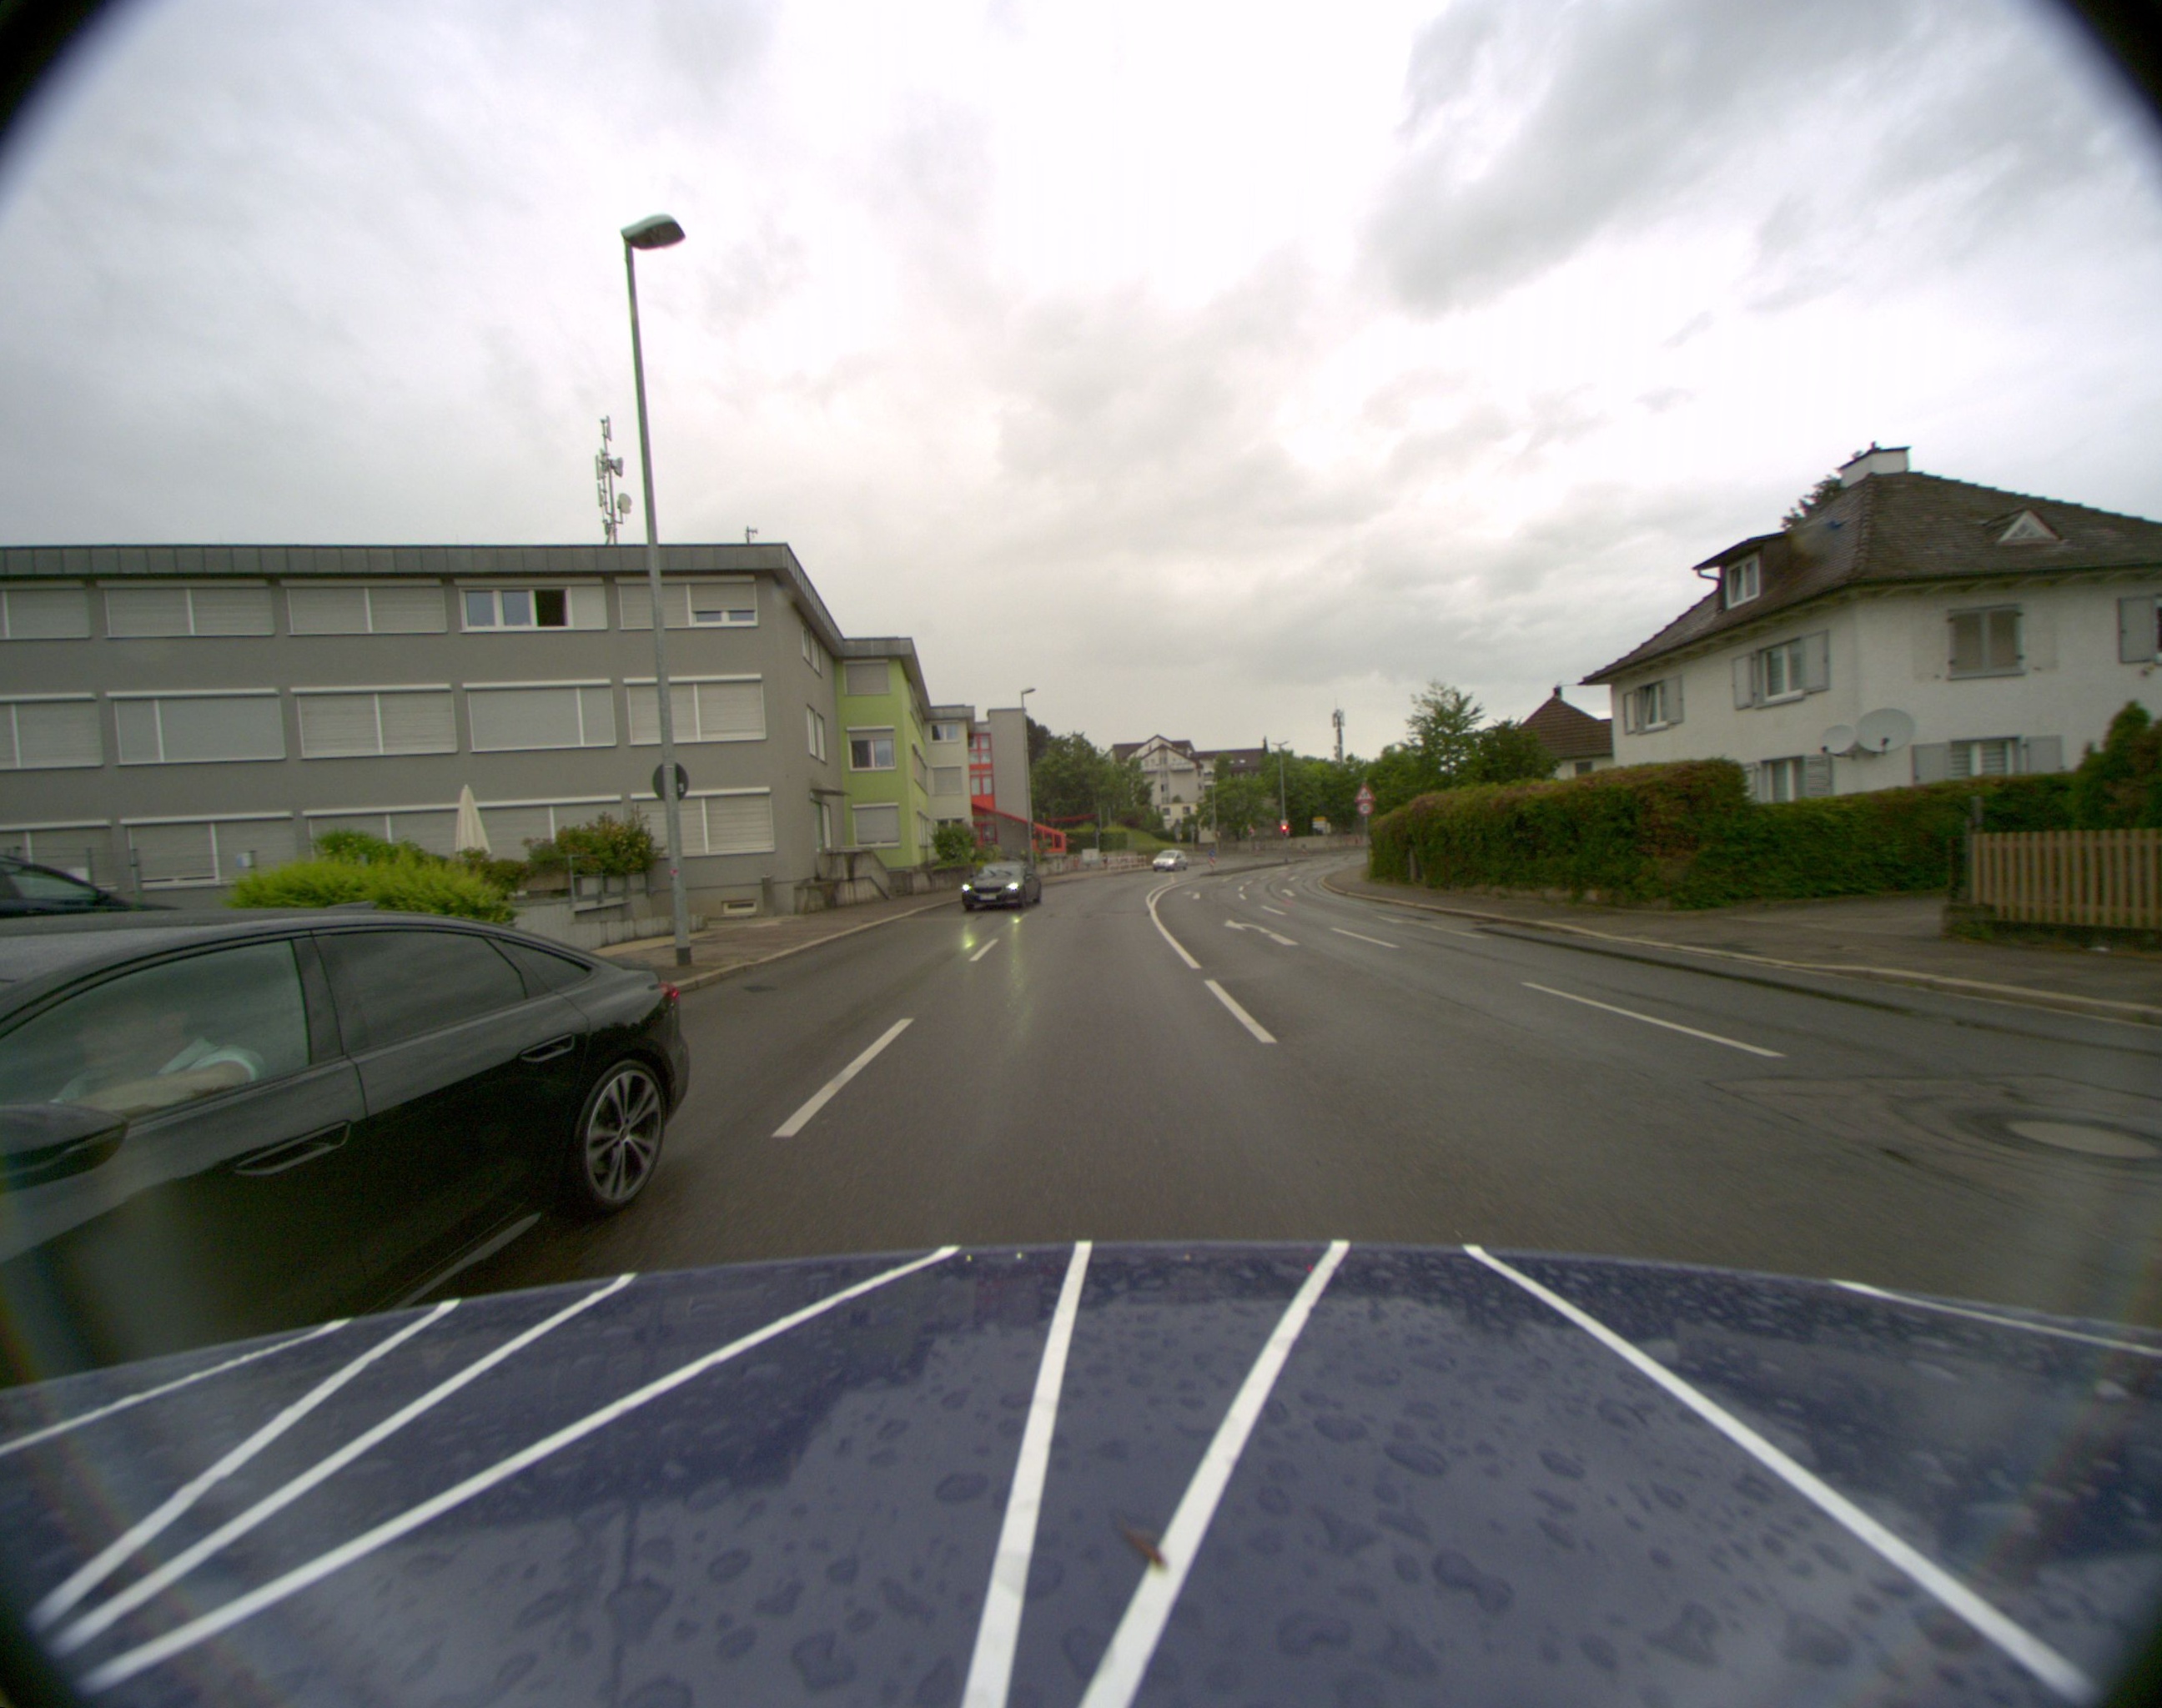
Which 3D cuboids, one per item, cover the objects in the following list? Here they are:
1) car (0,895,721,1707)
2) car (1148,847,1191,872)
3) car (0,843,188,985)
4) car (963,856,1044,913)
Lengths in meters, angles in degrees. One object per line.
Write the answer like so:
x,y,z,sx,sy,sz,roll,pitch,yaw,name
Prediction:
-2.950,1.057,1.836,1.871,1.416,4.737,-3,2,-1,car
6.768,0.400,57.695,1.995,1.647,4.005,-1,2,25,car
-12.879,0.684,8.288,1.815,1.518,3.996,1,2,-7,car
-2.463,0.930,25.104,1.871,1.510,4.000,-2,2,5,car
